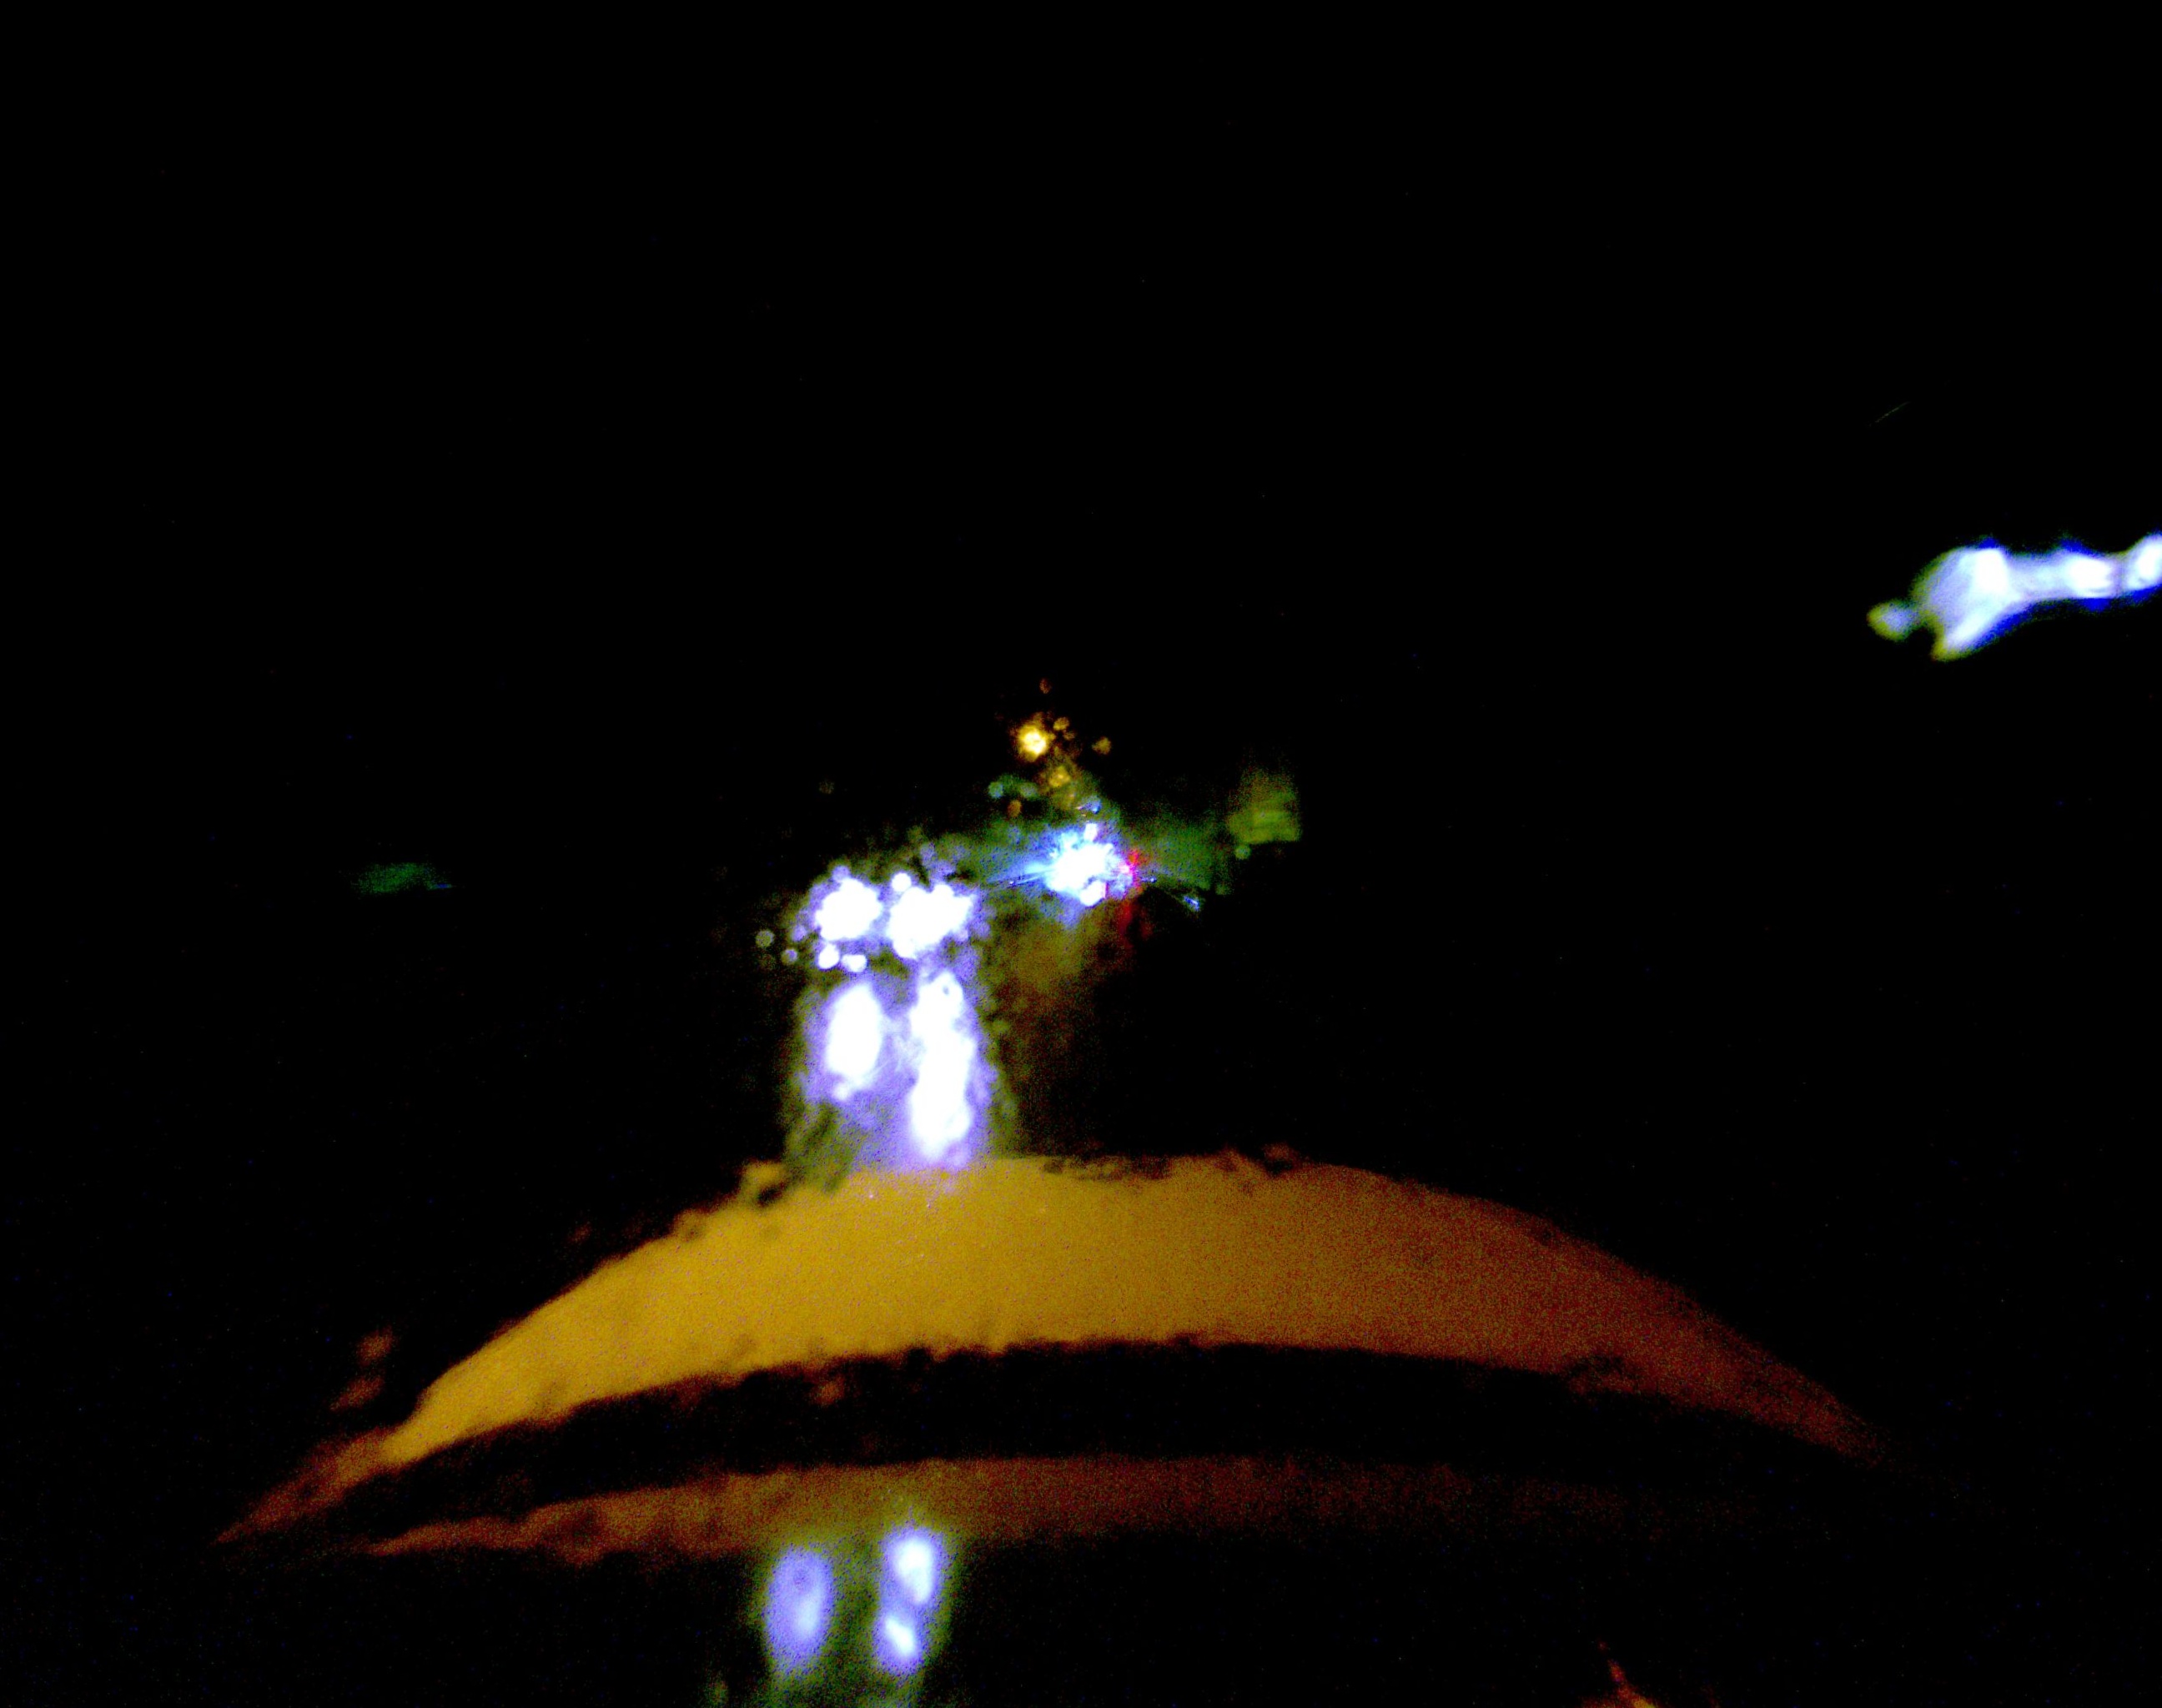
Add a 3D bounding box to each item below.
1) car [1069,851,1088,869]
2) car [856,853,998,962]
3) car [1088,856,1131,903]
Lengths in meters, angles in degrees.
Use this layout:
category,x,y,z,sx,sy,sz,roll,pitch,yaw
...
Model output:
category,x,y,z,sx,sy,sz,roll,pitch,yaw
car,-0.291,0.619,90.937,1.834,1.900,4.611,-2,0,2
car,-2.529,0.800,14.263,1.514,1.549,4.056,-2,1,2
car,1.199,1.018,33.955,1.629,1.758,4.148,-2,0,2
